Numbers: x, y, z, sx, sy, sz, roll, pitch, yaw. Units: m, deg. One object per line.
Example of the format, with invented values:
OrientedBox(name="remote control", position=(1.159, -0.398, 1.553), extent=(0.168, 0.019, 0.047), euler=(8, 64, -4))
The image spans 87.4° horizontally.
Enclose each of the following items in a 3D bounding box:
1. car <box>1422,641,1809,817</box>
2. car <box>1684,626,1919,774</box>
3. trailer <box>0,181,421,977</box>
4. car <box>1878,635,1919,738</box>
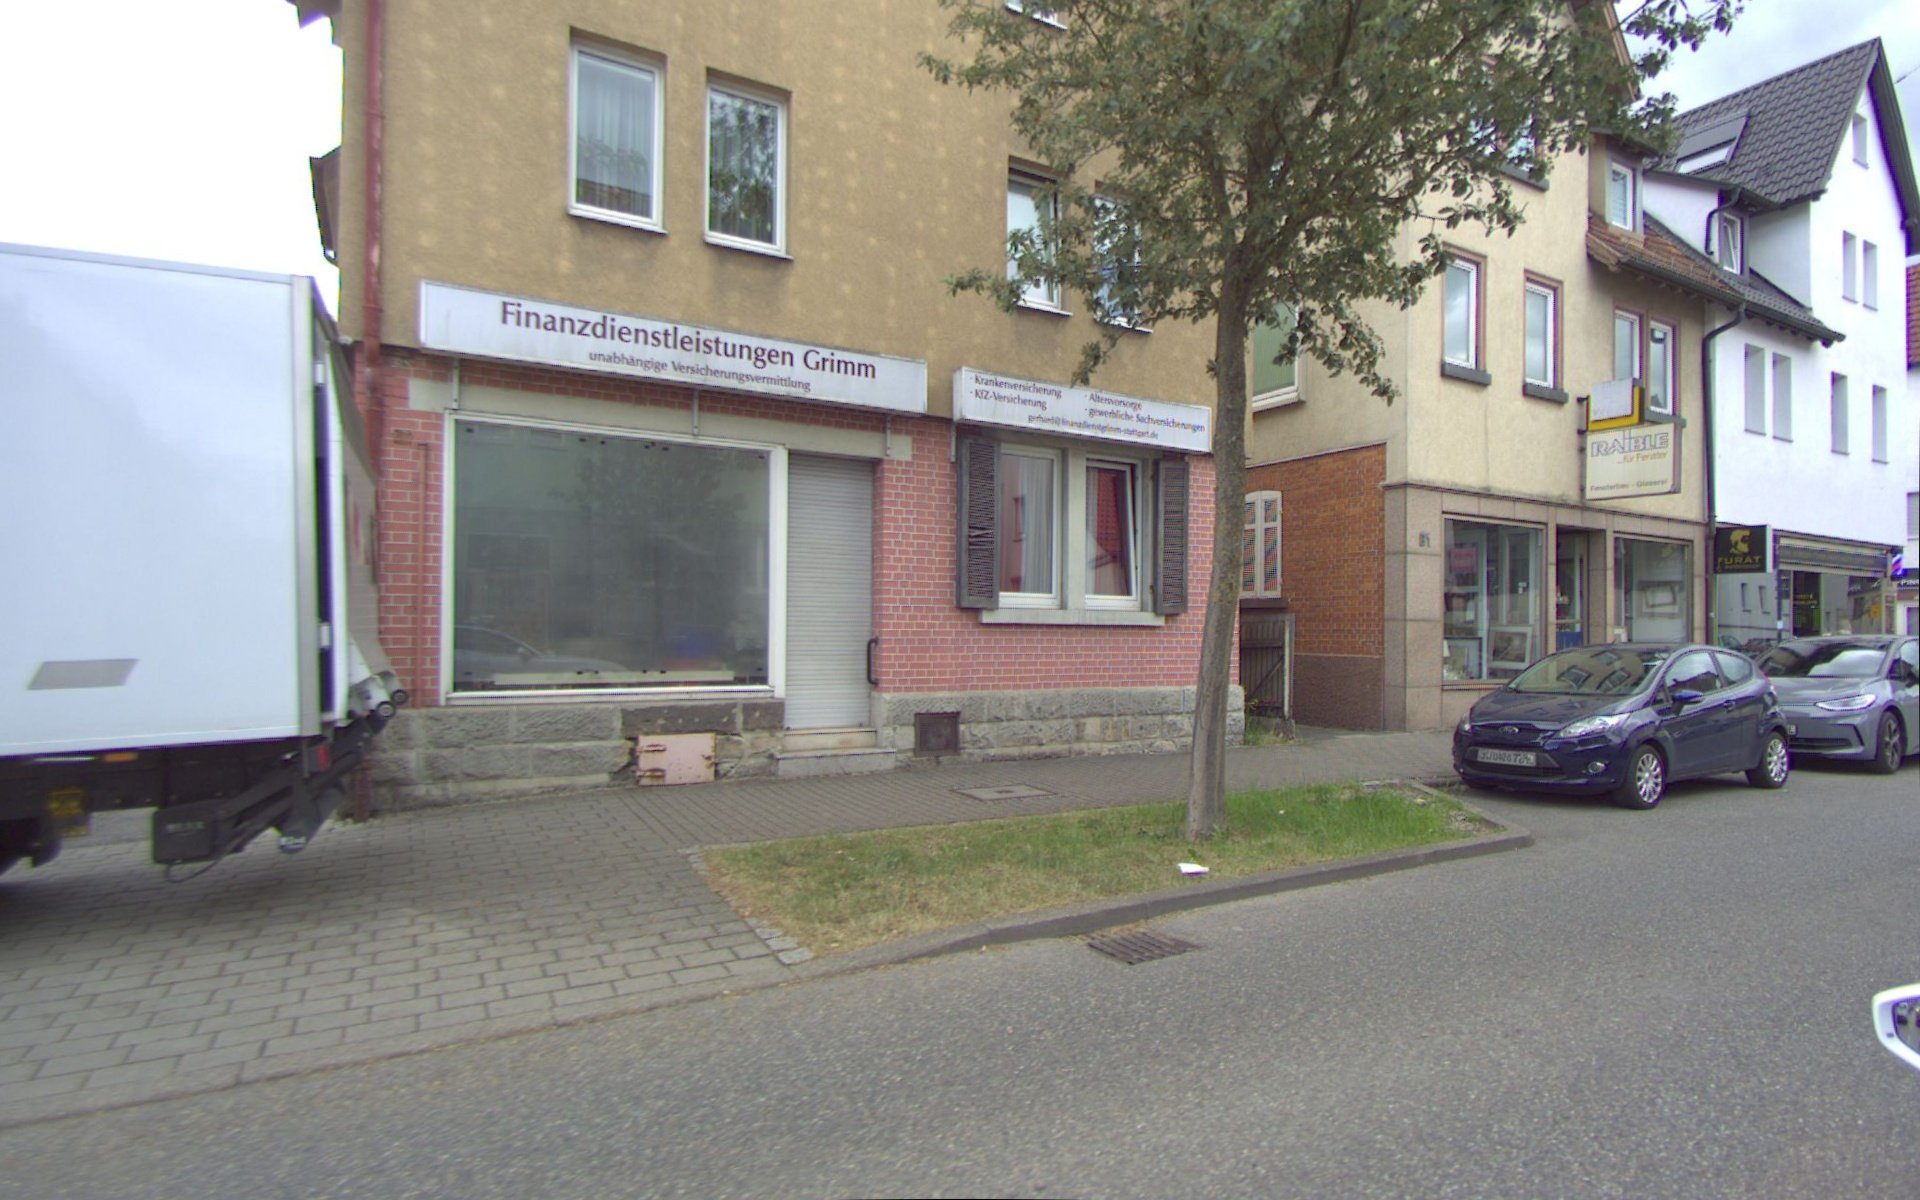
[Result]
OrientedBox(name="car", position=(6.566, 1.136, 9.993), extent=(3.885, 1.443, 1.674), euler=(1, -3, -31))
OrientedBox(name="car", position=(11.038, 1.149, 12.519), extent=(4.063, 1.586, 1.703), euler=(1, -3, -29))
OrientedBox(name="trailer", position=(-6.352, -0.093, 4.282), extent=(7.042, 3.262, 2.494), euler=(0, 0, -27))
OrientedBox(name="car", position=(15.810, 1.284, 15.277), extent=(3.548, 1.512, 1.675), euler=(1, -3, -29))
